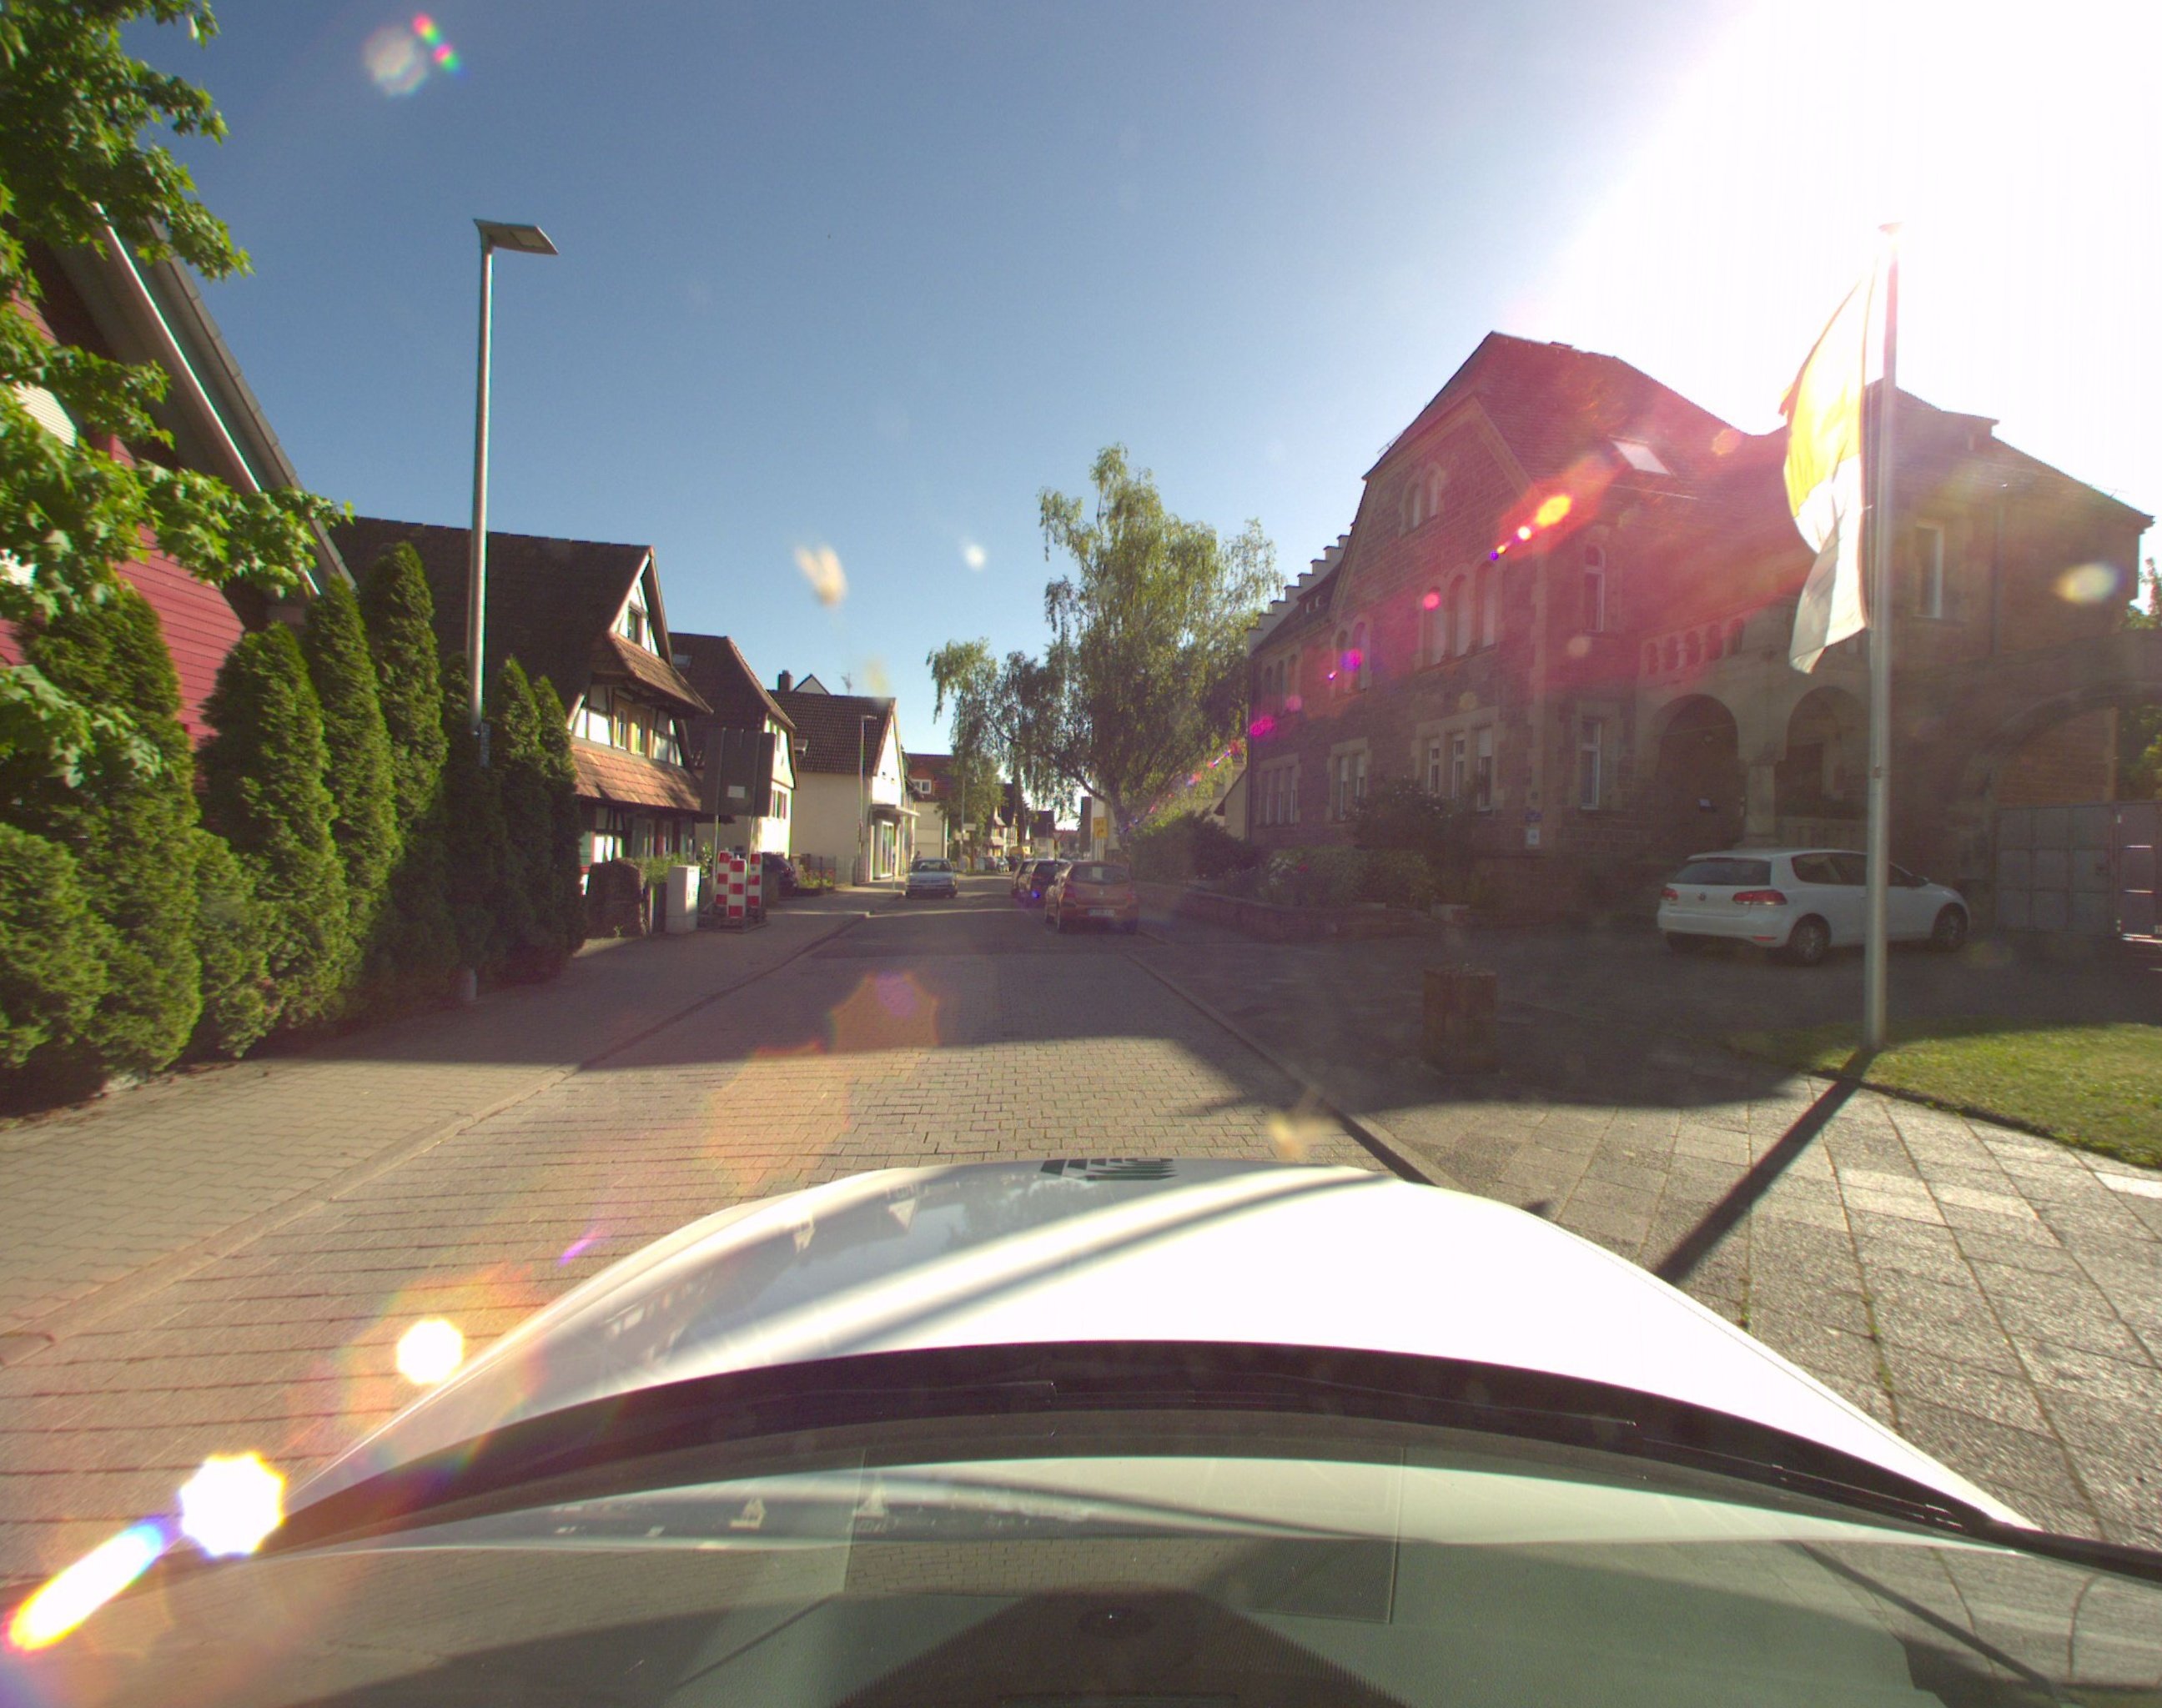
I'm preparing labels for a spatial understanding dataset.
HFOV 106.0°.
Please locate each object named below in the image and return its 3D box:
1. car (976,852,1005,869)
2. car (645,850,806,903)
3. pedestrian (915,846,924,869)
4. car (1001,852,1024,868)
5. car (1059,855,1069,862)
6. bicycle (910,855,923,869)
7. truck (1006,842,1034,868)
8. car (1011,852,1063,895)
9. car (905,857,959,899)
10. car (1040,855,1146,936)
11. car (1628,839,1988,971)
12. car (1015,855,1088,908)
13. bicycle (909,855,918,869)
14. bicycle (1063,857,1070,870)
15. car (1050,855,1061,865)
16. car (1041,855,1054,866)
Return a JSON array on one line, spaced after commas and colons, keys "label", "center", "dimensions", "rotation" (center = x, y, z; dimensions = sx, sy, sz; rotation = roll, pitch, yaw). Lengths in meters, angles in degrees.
[{"label": "car", "center": [-8.103, 0.600, 73.411], "dimensions": [1.859, 1.506, 4.111], "rotation": [2, -1, 3]}, {"label": "car", "center": [-10.670, 0.638, 24.769], "dimensions": [4.161, 1.462, 1.841], "rotation": [-1, 1, -12]}, {"label": "pedestrian", "center": [-12.126, 0.255, 61.159], "dimensions": [0.482, 1.693, 0.556], "rotation": [2, -2, -2]}, {"label": "car", "center": [-7.293, 0.684, 86.725], "dimensions": [1.799, 1.622, 3.884], "rotation": [2, -1, 3]}, {"label": "car", "center": [-4.296, 1.145, 207.332], "dimensions": [1.974, 1.583, 3.980], "rotation": [2, 0, -11]}, {"label": "bicycle", "center": [-12.994, 0.621, 64.331], "dimensions": [0.576, 1.052, 2.036], "rotation": [1, -1, 2]}, {"label": "truck", "center": [-6.837, 0.156, 92.320], "dimensions": [2.258, 2.868, 5.787], "rotation": [2, -1, 4]}, {"label": "car", "center": [-1.724, 0.681, 30.792], "dimensions": [1.804, 1.436, 4.278], "rotation": [2, 0, -5]}, {"label": "car", "center": [-5.386, 0.817, 29.754], "dimensions": [1.669, 1.402, 3.883], "rotation": [1, 0, -7]}, {"label": "car", "center": [0.145, 0.815, 17.772], "dimensions": [1.648, 1.478, 3.922], "rotation": [2, 0, -9]}, {"label": "car", "center": [10.044, 0.632, 11.358], "dimensions": [3.904, 1.496, 1.895], "rotation": [-2, -1, -15]}, {"label": "car", "center": [-1.038, 0.814, 26.124], "dimensions": [1.807, 1.436, 4.272], "rotation": [2, 0, -9]}, {"label": "bicycle", "center": [-12.539, 0.590, 60.951], "dimensions": [0.422, 1.052, 1.379], "rotation": [1, -1, -5]}, {"label": "bicycle", "center": [-1.336, 0.878, 75.150], "dimensions": [0.431, 1.176, 1.832], "rotation": [1, 0, 6]}, {"label": "car", "center": [-3.962, 0.950, 126.474], "dimensions": [1.583, 1.443, 3.615], "rotation": [2, 0, 1]}, {"label": "car", "center": [-4.747, 0.919, 114.558], "dimensions": [1.583, 1.443, 3.615], "rotation": [2, 0, 1]}]
